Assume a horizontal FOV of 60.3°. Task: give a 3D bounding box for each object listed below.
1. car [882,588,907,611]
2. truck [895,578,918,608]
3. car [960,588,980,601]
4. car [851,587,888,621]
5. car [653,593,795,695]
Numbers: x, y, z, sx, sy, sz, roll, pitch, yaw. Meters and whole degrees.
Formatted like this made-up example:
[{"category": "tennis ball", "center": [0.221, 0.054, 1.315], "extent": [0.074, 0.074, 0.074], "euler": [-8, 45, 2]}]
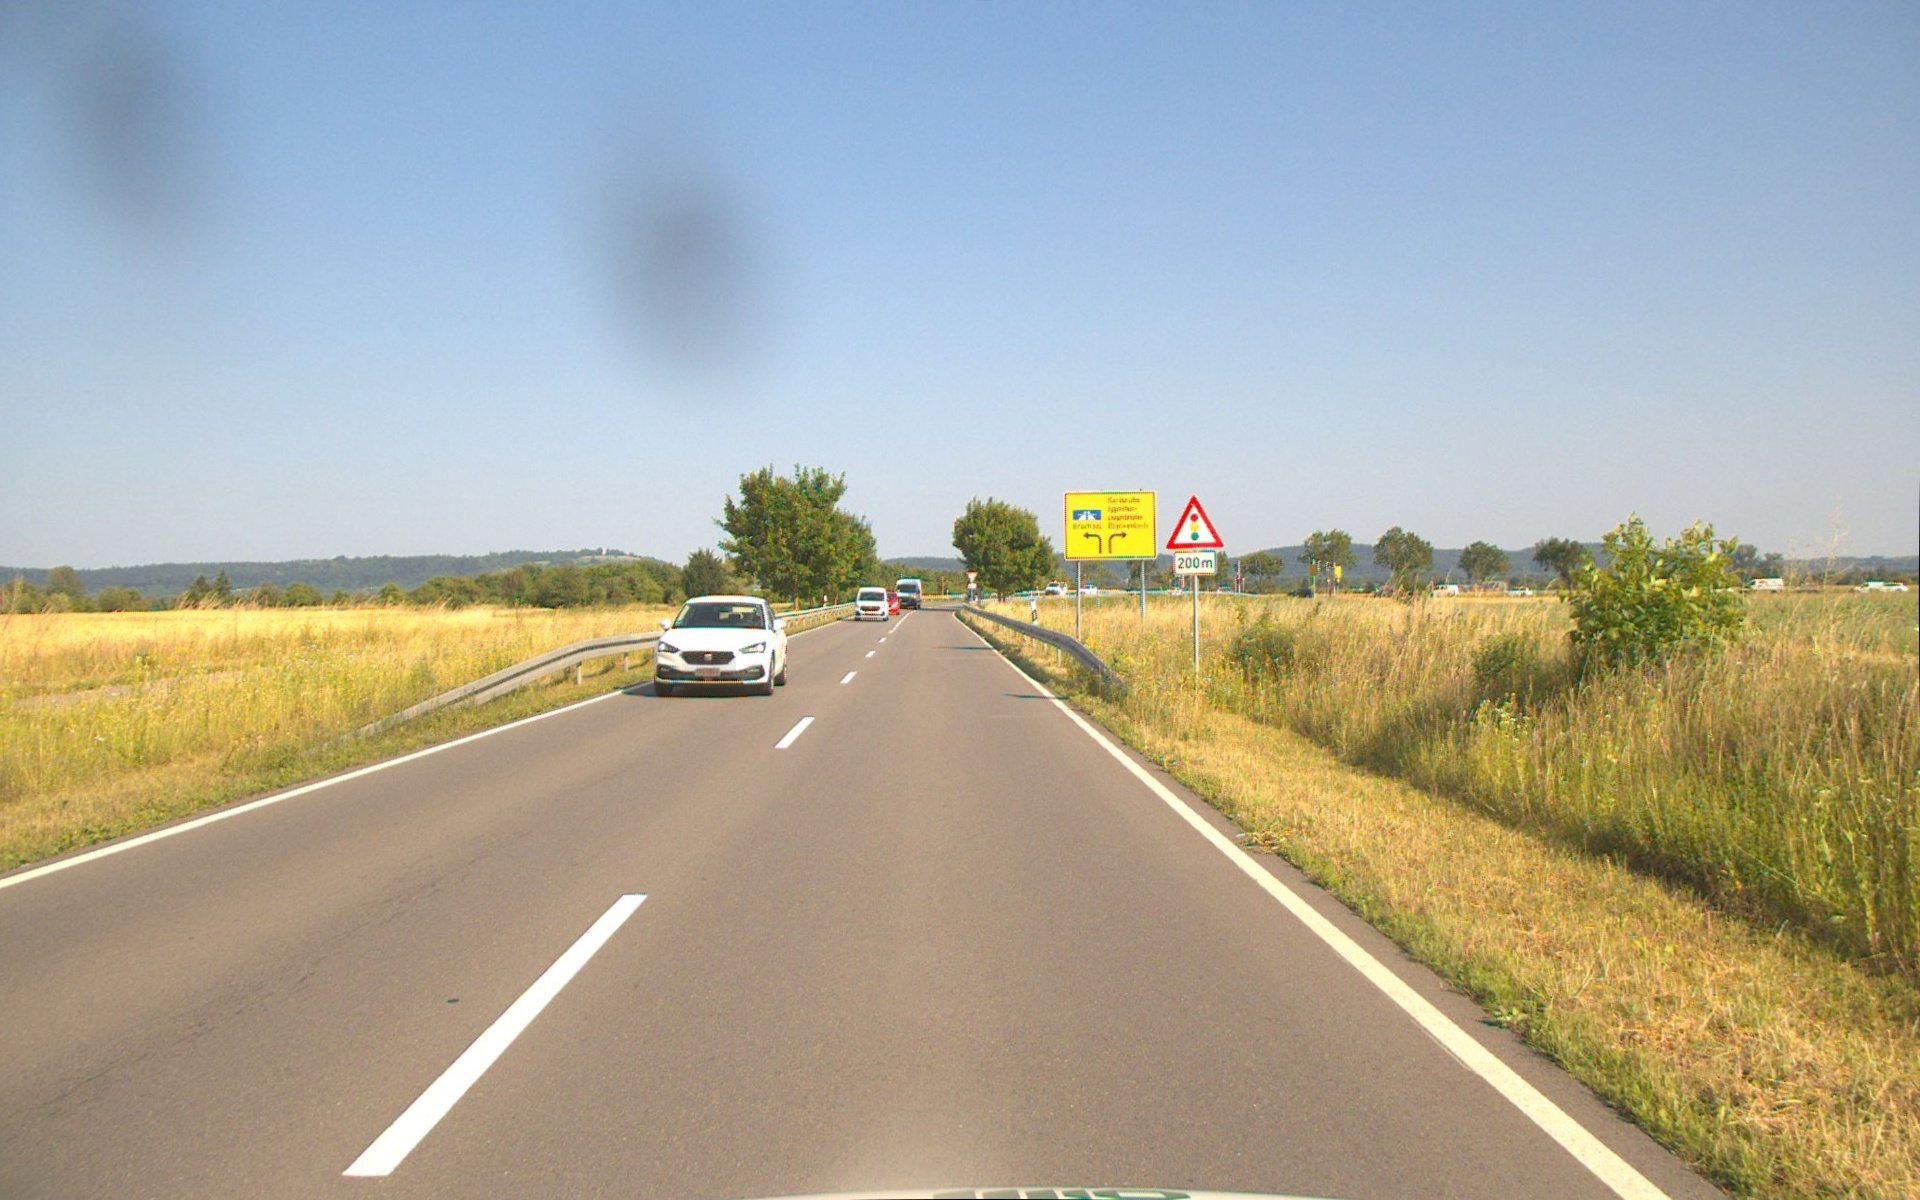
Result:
[{"category": "car", "center": [-4.519, -0.057, 114.355], "extent": [1.574, 1.514, 3.779], "euler": [0, 0, -1]}, {"category": "truck", "center": [-4.657, -0.648, 144.403], "extent": [1.953, 2.564, 6.242], "euler": [0, 0, -1]}, {"category": "car", "center": [1.117, -0.629, 185.723], "extent": [1.609, 1.497, 3.810], "euler": [0, 0, 10]}, {"category": "car", "center": [-4.976, 0.184, 91.198], "extent": [1.799, 1.818, 4.434], "euler": [0, 0, -1]}, {"category": "car", "center": [-3.625, 0.632, 26.113], "extent": [1.691, 1.462, 4.515], "euler": [0, 0, -1]}]
